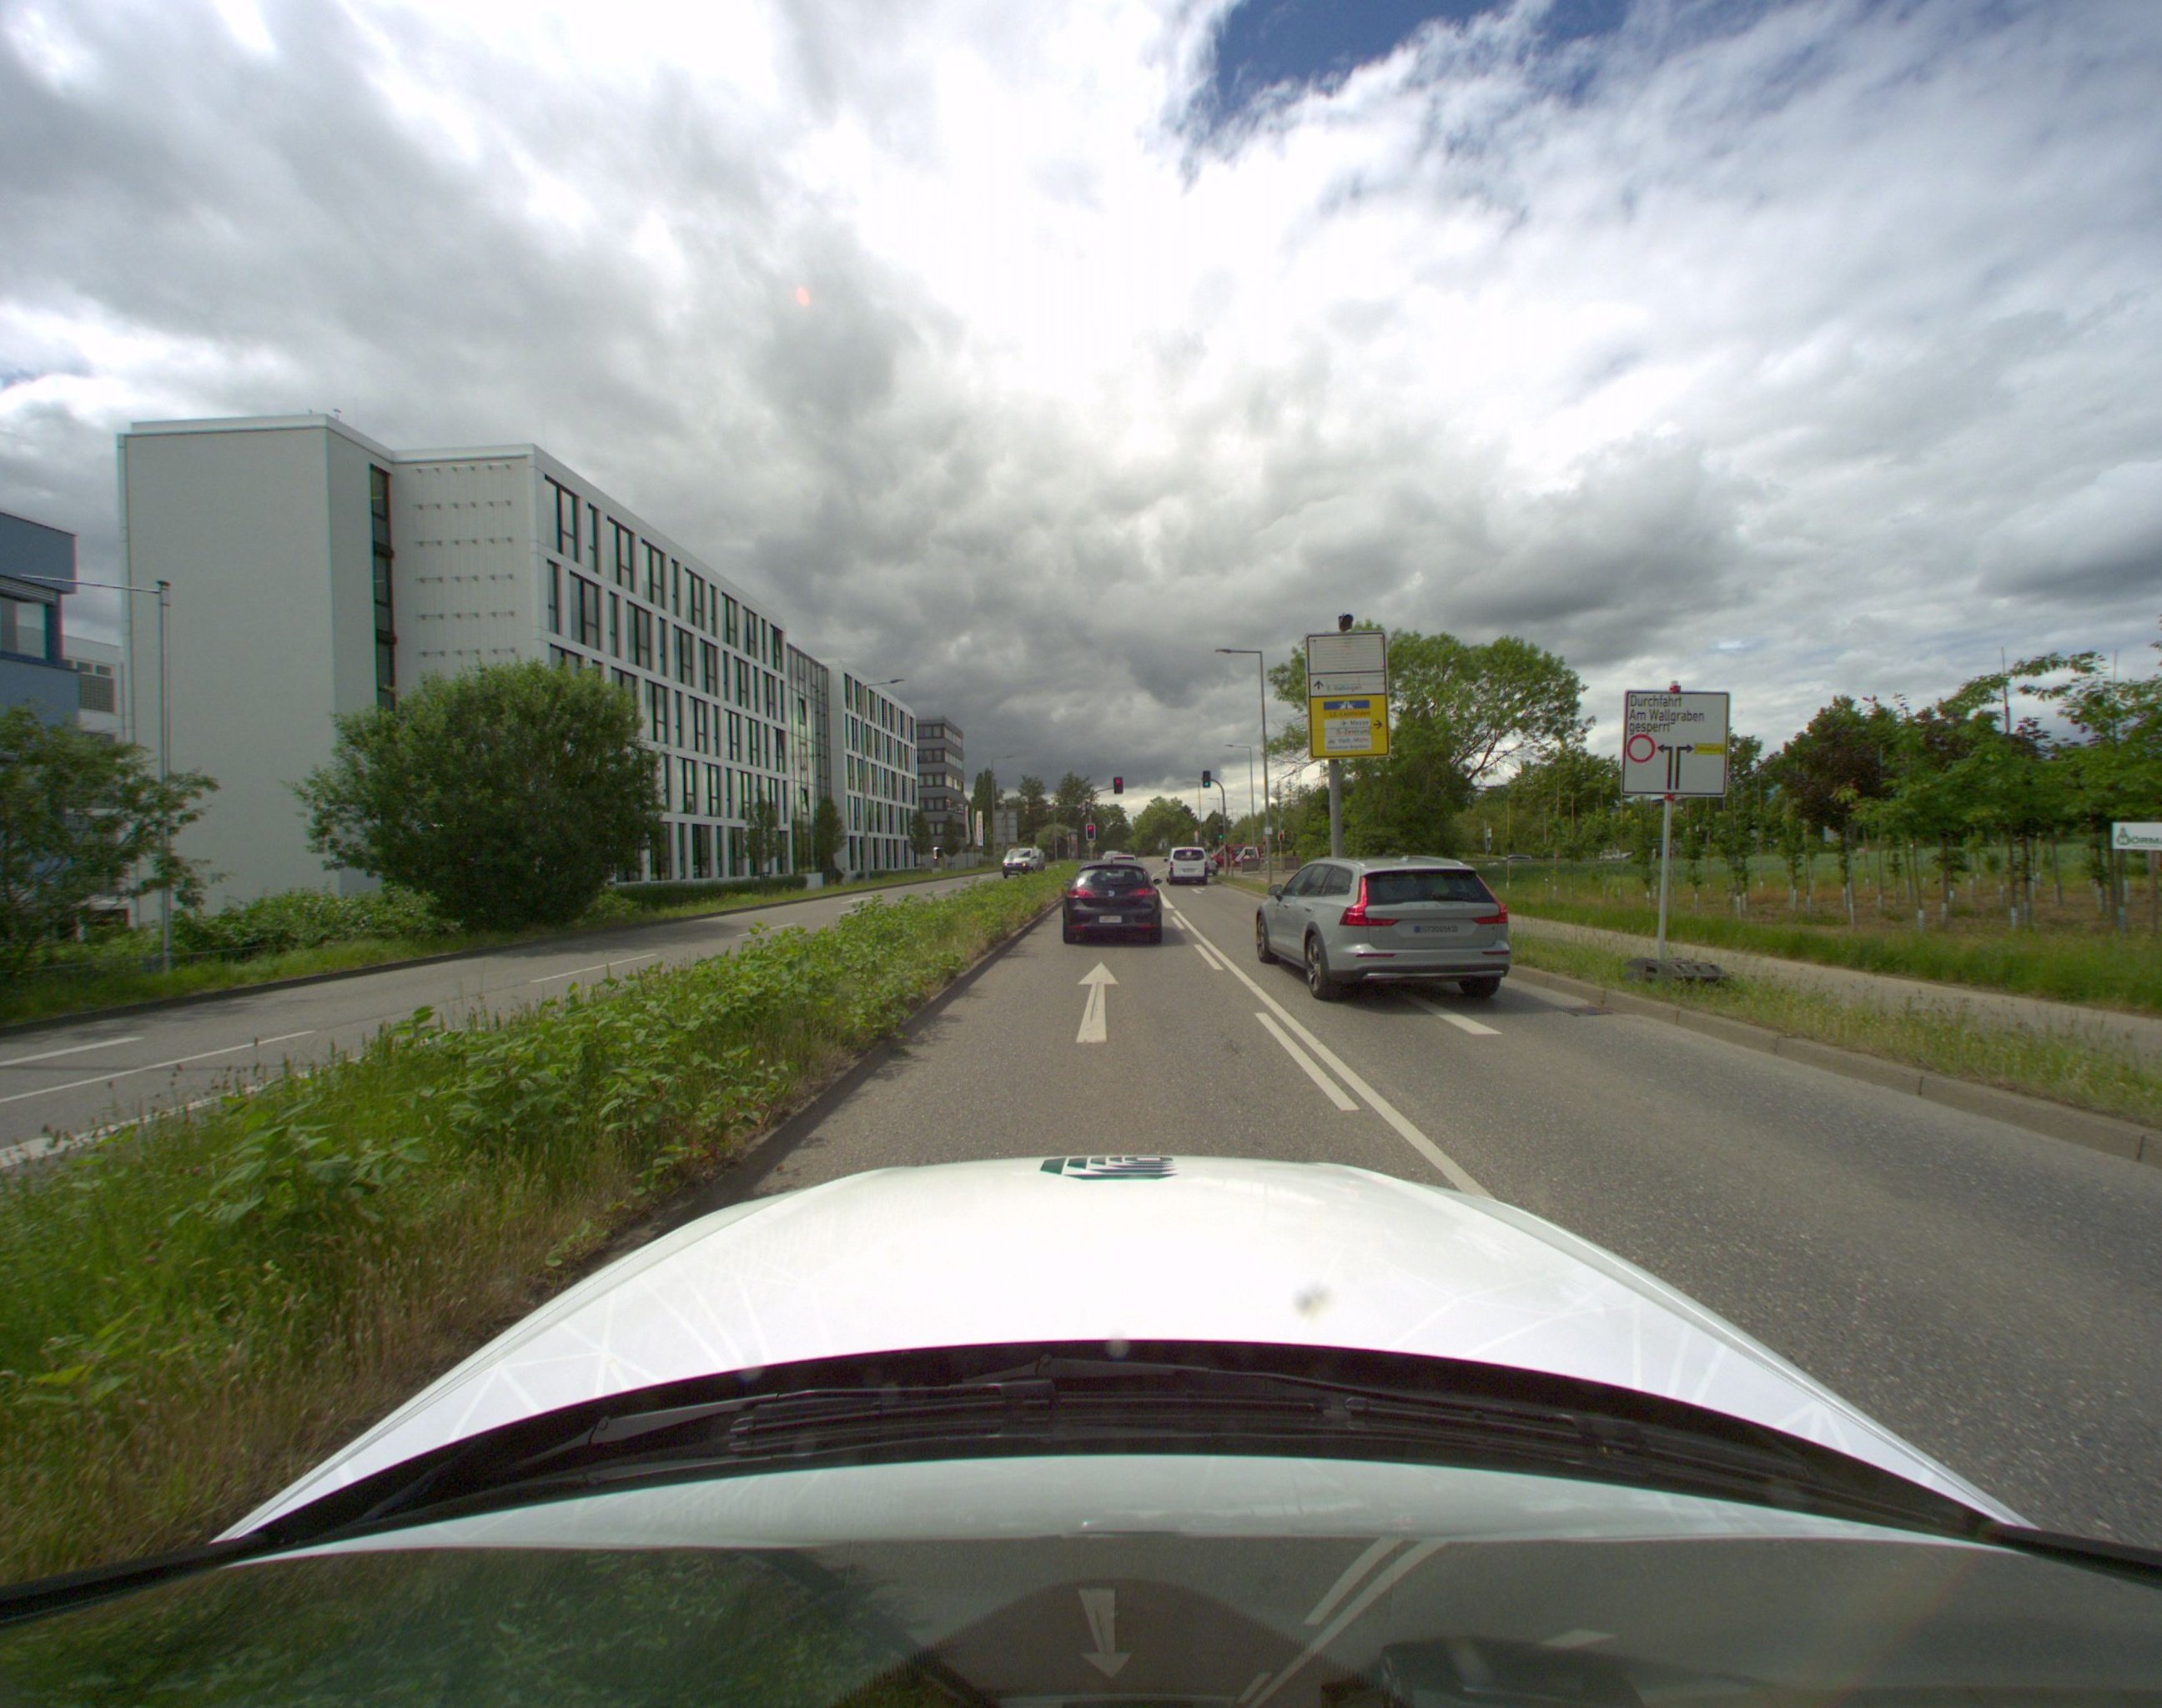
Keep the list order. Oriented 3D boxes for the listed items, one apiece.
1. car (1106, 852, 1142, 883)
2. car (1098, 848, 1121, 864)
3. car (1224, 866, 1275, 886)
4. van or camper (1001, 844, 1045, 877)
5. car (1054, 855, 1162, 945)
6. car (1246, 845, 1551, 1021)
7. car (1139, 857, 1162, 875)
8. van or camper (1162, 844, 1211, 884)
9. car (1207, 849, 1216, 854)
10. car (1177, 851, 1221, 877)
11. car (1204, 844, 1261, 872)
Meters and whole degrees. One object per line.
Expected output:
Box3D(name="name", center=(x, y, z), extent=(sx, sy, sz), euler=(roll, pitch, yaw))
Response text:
Box3D(name="car", center=(2.197, 0.662, 42.700), extent=(1.766, 1.491, 3.583), euler=(-2, 0, 2))
Box3D(name="car", center=(2.973, 0.157, 83.632), extent=(1.983, 1.596, 4.008), euler=(-1, 0, 7))
Box3D(name="car", center=(12.518, 1.591, 60.561), extent=(3.381, 1.345, 1.682), euler=(-2, 0, -12))
Box3D(name="van or camper", center=(-3.791, 0.410, 54.010), extent=(1.983, 2.013, 4.824), euler=(-2, 0, 6))
Box3D(name="car", center=(0.555, 0.766, 15.186), extent=(1.765, 1.451, 3.586), euler=(0, 0, 4))
Box3D(name="car", center=(3.315, 0.703, 9.570), extent=(1.856, 1.518, 4.447), euler=(-2, 0, 1))
Box3D(name="car", center=(6.632, 1.122, 77.024), extent=(1.983, 1.596, 4.008), euler=(-1, 0, 7))
Box3D(name="van or camper", center=(5.283, 0.476, 41.357), extent=(1.986, 1.860, 4.946), euler=(-2, 0, 2))
Box3D(name="car", center=(34.851, -0.638, 217.636), extent=(1.980, 1.352, 4.013), euler=(-1, 0, 12))
Box3D(name="car", center=(7.848, 0.623, 53.962), extent=(1.976, 1.596, 4.021), euler=(-2, 0, 22))
Box3D(name="car", center=(14.193, 0.387, 76.411), extent=(5.193, 2.412, 2.005), euler=(-2, 0, 9))
